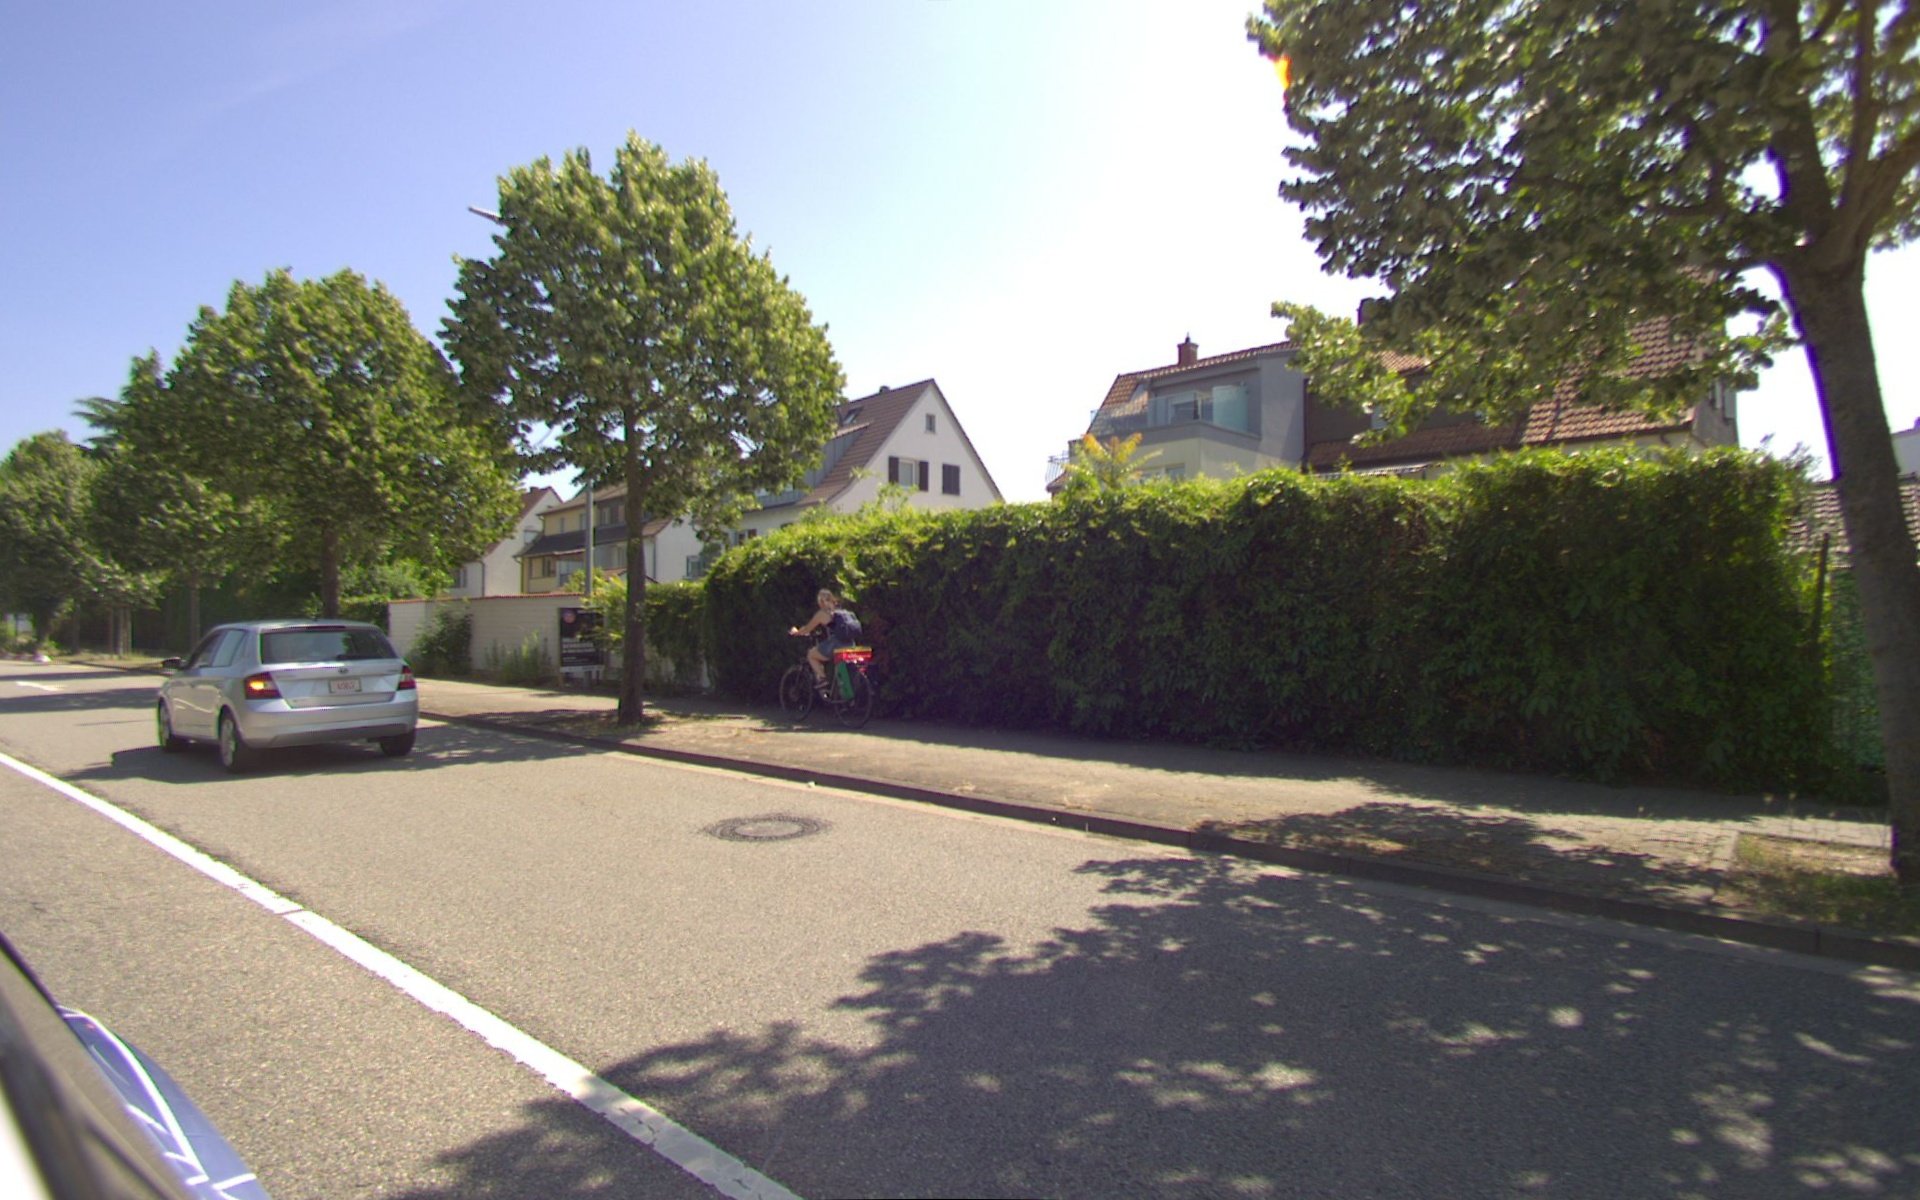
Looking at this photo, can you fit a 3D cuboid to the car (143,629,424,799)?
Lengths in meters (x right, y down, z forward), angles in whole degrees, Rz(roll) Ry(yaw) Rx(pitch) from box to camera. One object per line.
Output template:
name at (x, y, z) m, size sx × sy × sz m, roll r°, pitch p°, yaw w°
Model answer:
car at (-7.352, 1.075, 10.873) m, size 3.705 × 1.494 × 1.595 m, roll -2°, pitch -2°, yaw 41°

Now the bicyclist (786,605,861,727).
bicyclist at (-1.664, 0.787, 12.335) m, size 0.676 × 1.419 × 0.622 m, roll -2°, pitch -3°, yaw 41°

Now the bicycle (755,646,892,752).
bicycle at (-1.686, 1.164, 12.342) m, size 1.815 × 1.189 × 0.625 m, roll -2°, pitch -2°, yaw 41°
